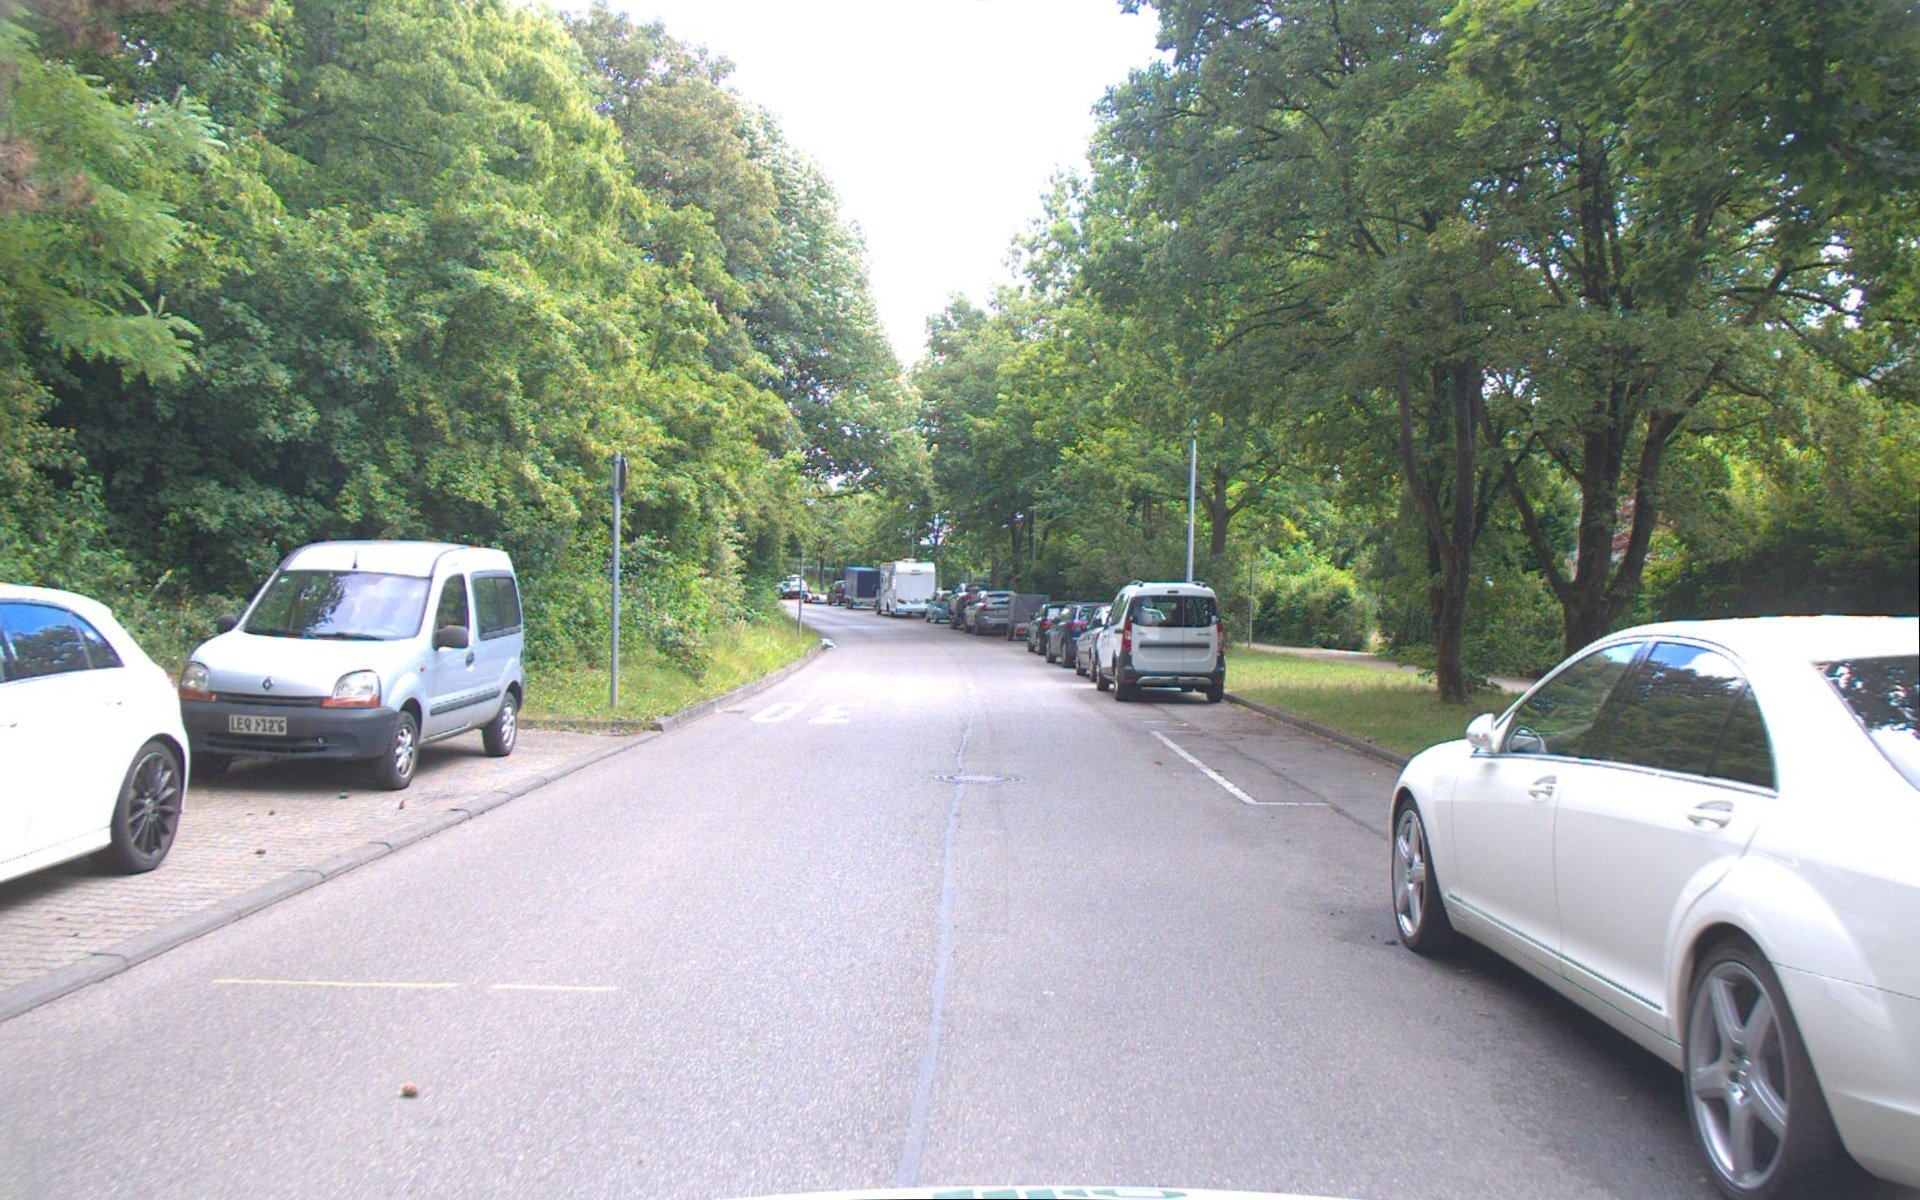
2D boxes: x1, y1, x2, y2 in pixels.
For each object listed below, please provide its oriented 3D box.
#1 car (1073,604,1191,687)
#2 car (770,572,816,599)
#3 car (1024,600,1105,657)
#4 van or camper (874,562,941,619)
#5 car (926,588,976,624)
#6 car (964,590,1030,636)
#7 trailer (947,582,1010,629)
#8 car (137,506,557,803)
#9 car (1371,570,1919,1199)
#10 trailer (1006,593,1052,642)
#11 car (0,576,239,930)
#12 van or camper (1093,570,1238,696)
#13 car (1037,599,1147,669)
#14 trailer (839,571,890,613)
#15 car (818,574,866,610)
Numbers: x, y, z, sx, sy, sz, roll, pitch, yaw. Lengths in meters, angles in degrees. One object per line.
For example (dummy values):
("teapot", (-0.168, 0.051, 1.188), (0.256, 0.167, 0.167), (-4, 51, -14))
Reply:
("car", (3.330, 0.851, 32.823), (1.776, 1.462, 4.241), (2, 0, -1))
("car", (-11.858, -1.026, 117.161), (2.009, 1.835, 4.051), (0, 1, -25))
("car", (2.883, 0.757, 46.161), (1.687, 1.478, 3.914), (1, 0, -5))
("van or camper", (-2.892, -0.508, 88.957), (2.438, 2.926, 6.869), (1, 0, -12))
("car", (-0.470, 0.260, 78.732), (1.767, 1.589, 3.826), (0, 1, -10))
("car", (1.375, 0.514, 63.169), (1.759, 1.699, 4.492), (0, -1, -9))
("trailer", (0.727, 0.181, 69.445), (1.941, 1.843, 5.141), (0, 1, -7))
("car", (-4.729, 0.350, 13.447), (1.685, 1.954, 4.106), (3, 1, 2))
("car", (2.966, 0.710, 5.589), (1.847, 1.533, 5.175), (1, 0, 0))
("trailer", (2.364, 0.593, 56.969), (1.253, 1.612, 2.458), (1, 0, -4))
("car", (-4.830, 0.612, 6.832), (1.769, 1.427, 4.371), (3, 0, -1))
("van or camper", (3.268, 0.542, 27.072), (1.765, 1.870, 4.319), (1, -1, -1))
("car", (3.031, 0.753, 38.826), (1.811, 1.500, 4.474), (1, 0, -5))
("trailer", (-5.758, -0.518, 99.341), (1.964, 2.440, 3.977), (1, 0, -20))
("car", (-7.485, -0.521, 104.536), (1.965, 2.061, 3.977), (-2, 3, -20))
